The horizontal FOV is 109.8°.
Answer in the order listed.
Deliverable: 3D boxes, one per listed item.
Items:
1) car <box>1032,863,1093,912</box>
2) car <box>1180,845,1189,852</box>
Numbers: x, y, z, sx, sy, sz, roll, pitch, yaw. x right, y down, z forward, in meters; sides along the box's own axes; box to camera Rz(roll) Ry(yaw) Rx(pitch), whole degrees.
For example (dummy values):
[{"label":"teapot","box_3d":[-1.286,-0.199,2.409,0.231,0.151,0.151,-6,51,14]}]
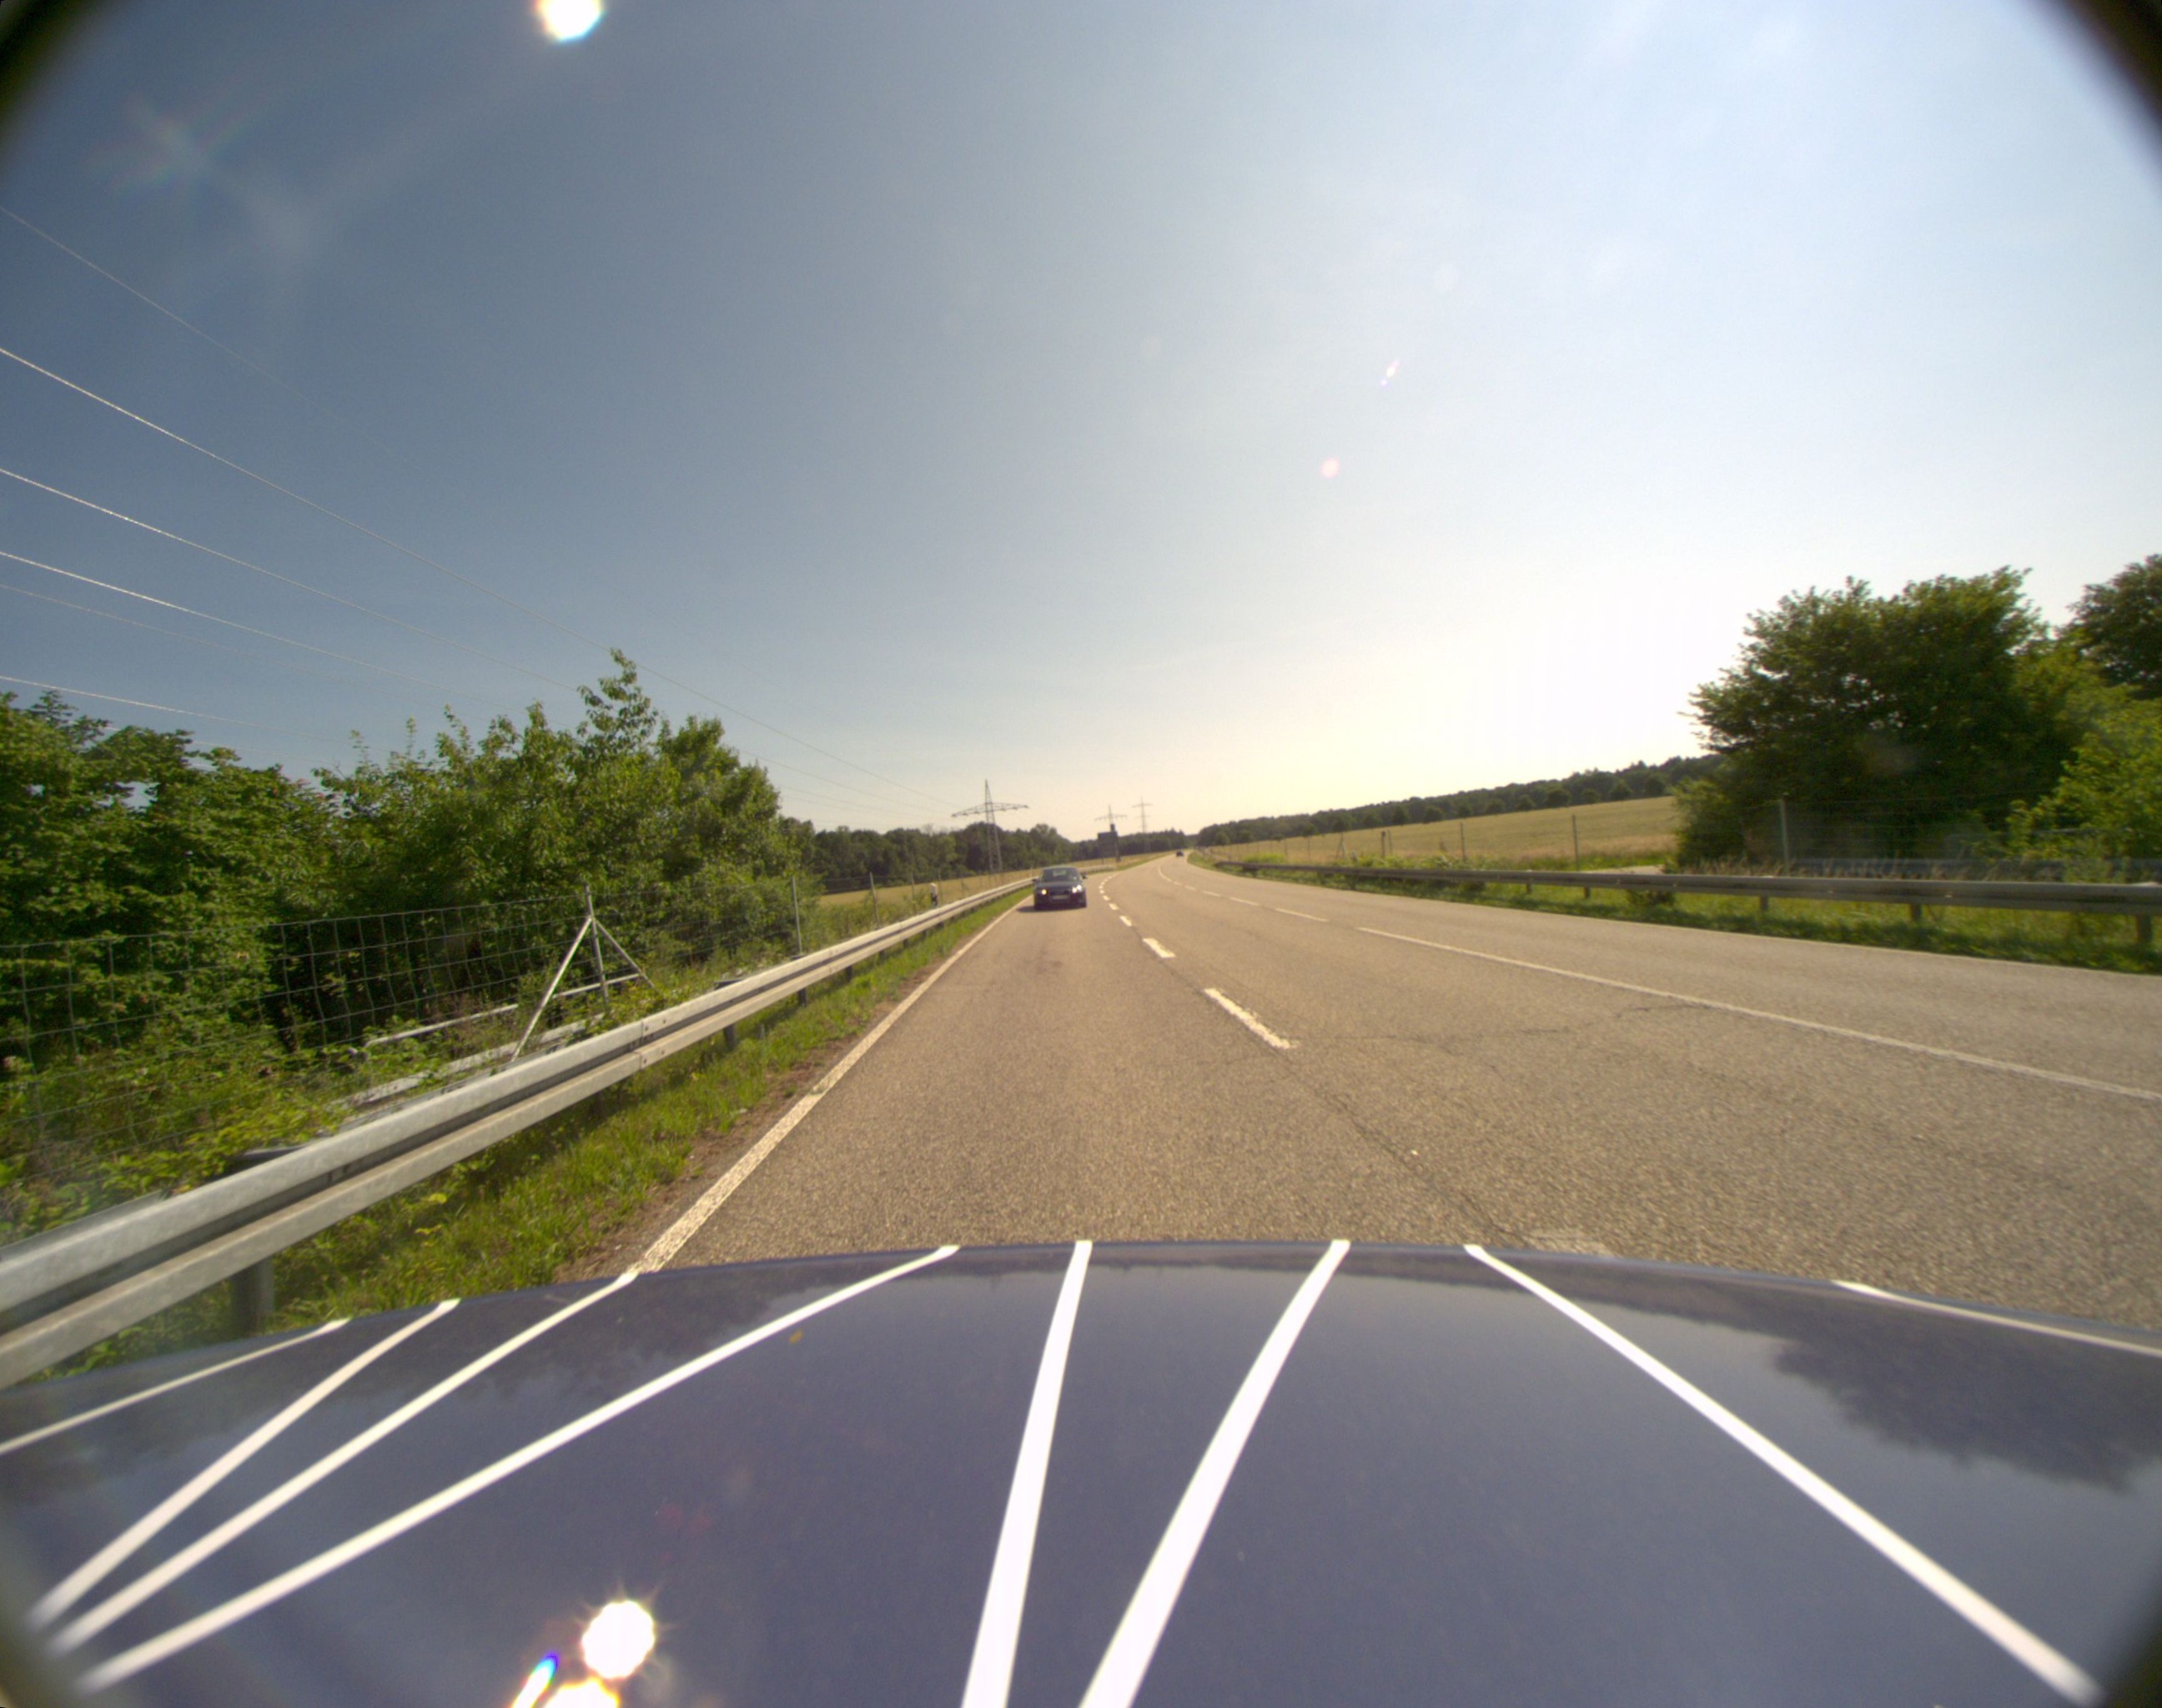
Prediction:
[{"label":"car","box_3d":[-0.680,1.105,26.492,1.887,1.448,4.075,-3,0,-3]},{"label":"car","box_3d":[24.535,-1.293,180.289,1.832,1.499,4.164,-3,0,6]}]
